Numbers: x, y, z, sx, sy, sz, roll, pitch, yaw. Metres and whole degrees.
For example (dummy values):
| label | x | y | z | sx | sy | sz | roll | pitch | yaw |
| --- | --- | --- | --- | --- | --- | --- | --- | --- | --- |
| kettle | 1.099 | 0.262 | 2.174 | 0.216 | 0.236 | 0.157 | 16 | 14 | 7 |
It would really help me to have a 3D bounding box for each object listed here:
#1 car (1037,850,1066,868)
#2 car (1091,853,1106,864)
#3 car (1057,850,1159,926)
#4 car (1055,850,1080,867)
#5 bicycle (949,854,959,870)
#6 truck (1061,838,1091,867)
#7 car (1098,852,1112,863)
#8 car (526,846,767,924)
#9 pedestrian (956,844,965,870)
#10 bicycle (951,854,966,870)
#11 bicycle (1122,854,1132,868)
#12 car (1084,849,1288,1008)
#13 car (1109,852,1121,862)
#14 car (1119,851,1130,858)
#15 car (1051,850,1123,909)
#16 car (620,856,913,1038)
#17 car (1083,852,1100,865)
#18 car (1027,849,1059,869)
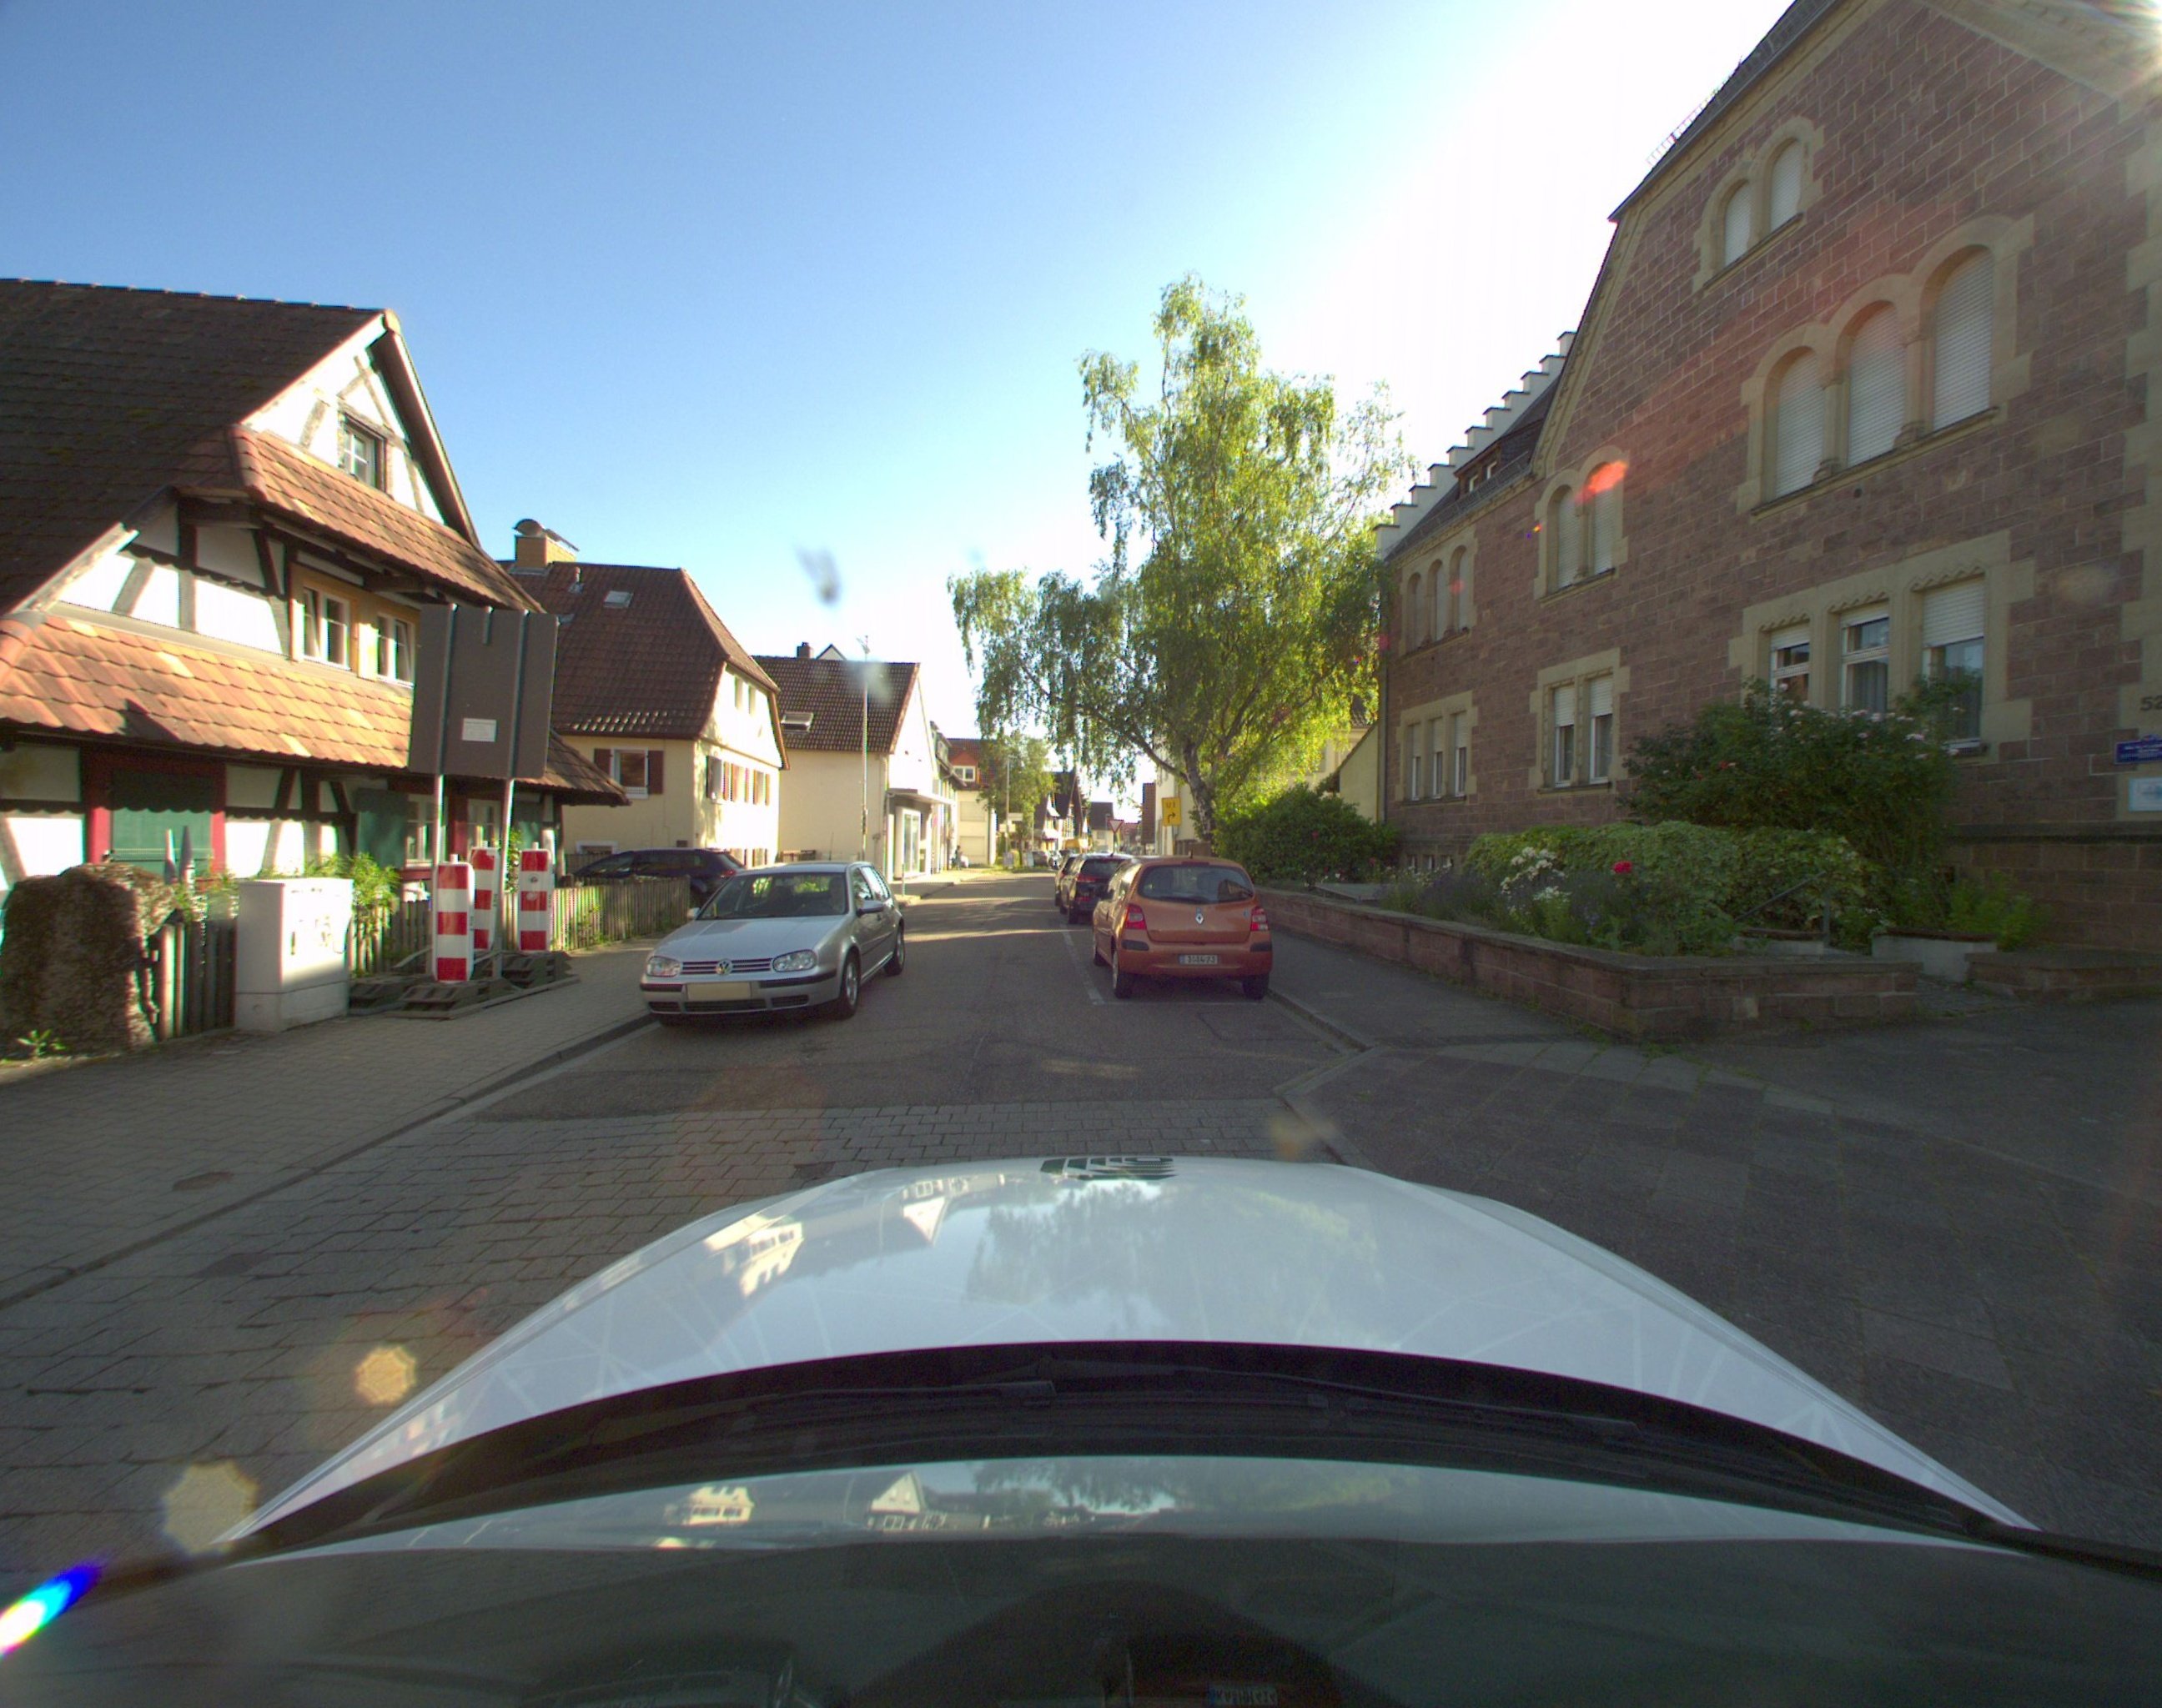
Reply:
| label | x | y | z | sx | sy | sz | roll | pitch | yaw |
| --- | --- | --- | --- | --- | --- | --- | --- | --- | --- |
| car | -2.488 | 0.420 | 70.376 | 1.796 | 1.505 | 4.116 | 1 | 0 | 8 |
| car | 2.117 | 0.521 | 98.269 | 1.580 | 1.336 | 3.619 | 1 | 0 | 5 |
| car | 0.473 | 0.677 | 18.263 | 1.804 | 1.436 | 4.279 | 1 | 1 | -5 |
| car | -1.281 | 0.412 | 79.249 | 1.796 | 1.622 | 3.889 | 1 | 0 | 8 |
| bicycle | -8.411 | 0.553 | 53.903 | 0.422 | 1.052 | 1.381 | 1 | -1 | -1 |
| truck | -0.483 | -0.154 | 84.746 | 2.255 | 2.868 | 5.795 | 1 | 0 | 8 |
| car | 3.183 | 0.442 | 106.863 | 1.580 | 1.442 | 3.619 | 1 | 0 | 5 |
| car | -9.228 | 0.607 | 17.629 | 4.155 | 1.462 | 1.844 | -2 | 1 | -8 |
| pedestrian | -7.990 | 0.211 | 54.078 | 0.481 | 1.693 | 0.557 | 1 | -2 | 3 |
| bicycle | -8.614 | 0.572 | 57.312 | 0.575 | 1.052 | 2.039 | 0 | -1 | 6 |
| bicycle | 3.799 | 0.586 | 67.247 | 0.430 | 1.176 | 1.836 | 1 | 0 | 14 |
| car | 1.034 | 0.718 | 9.834 | 1.645 | 1.478 | 3.927 | 1 | 1 | -5 |
| car | 4.978 | 0.394 | 118.694 | 1.580 | 1.442 | 3.619 | 1 | 0 | 5 |
| car | 10.624 | 0.121 | 199.466 | 1.971 | 1.583 | 3.986 | 1 | 0 | -7 |
| car | 0.131 | 0.647 | 22.977 | 1.802 | 1.436 | 4.284 | 1 | 1 | -1 |
| car | -2.922 | 0.748 | 8.501 | 1.667 | 1.402 | 3.889 | 0 | 1 | -2 |
| car | 1.191 | 0.494 | 93.696 | 1.637 | 1.432 | 3.619 | 1 | 0 | 5 |
| car | -3.073 | 0.419 | 66.013 | 1.857 | 1.505 | 4.116 | 1 | 0 | 8 |
